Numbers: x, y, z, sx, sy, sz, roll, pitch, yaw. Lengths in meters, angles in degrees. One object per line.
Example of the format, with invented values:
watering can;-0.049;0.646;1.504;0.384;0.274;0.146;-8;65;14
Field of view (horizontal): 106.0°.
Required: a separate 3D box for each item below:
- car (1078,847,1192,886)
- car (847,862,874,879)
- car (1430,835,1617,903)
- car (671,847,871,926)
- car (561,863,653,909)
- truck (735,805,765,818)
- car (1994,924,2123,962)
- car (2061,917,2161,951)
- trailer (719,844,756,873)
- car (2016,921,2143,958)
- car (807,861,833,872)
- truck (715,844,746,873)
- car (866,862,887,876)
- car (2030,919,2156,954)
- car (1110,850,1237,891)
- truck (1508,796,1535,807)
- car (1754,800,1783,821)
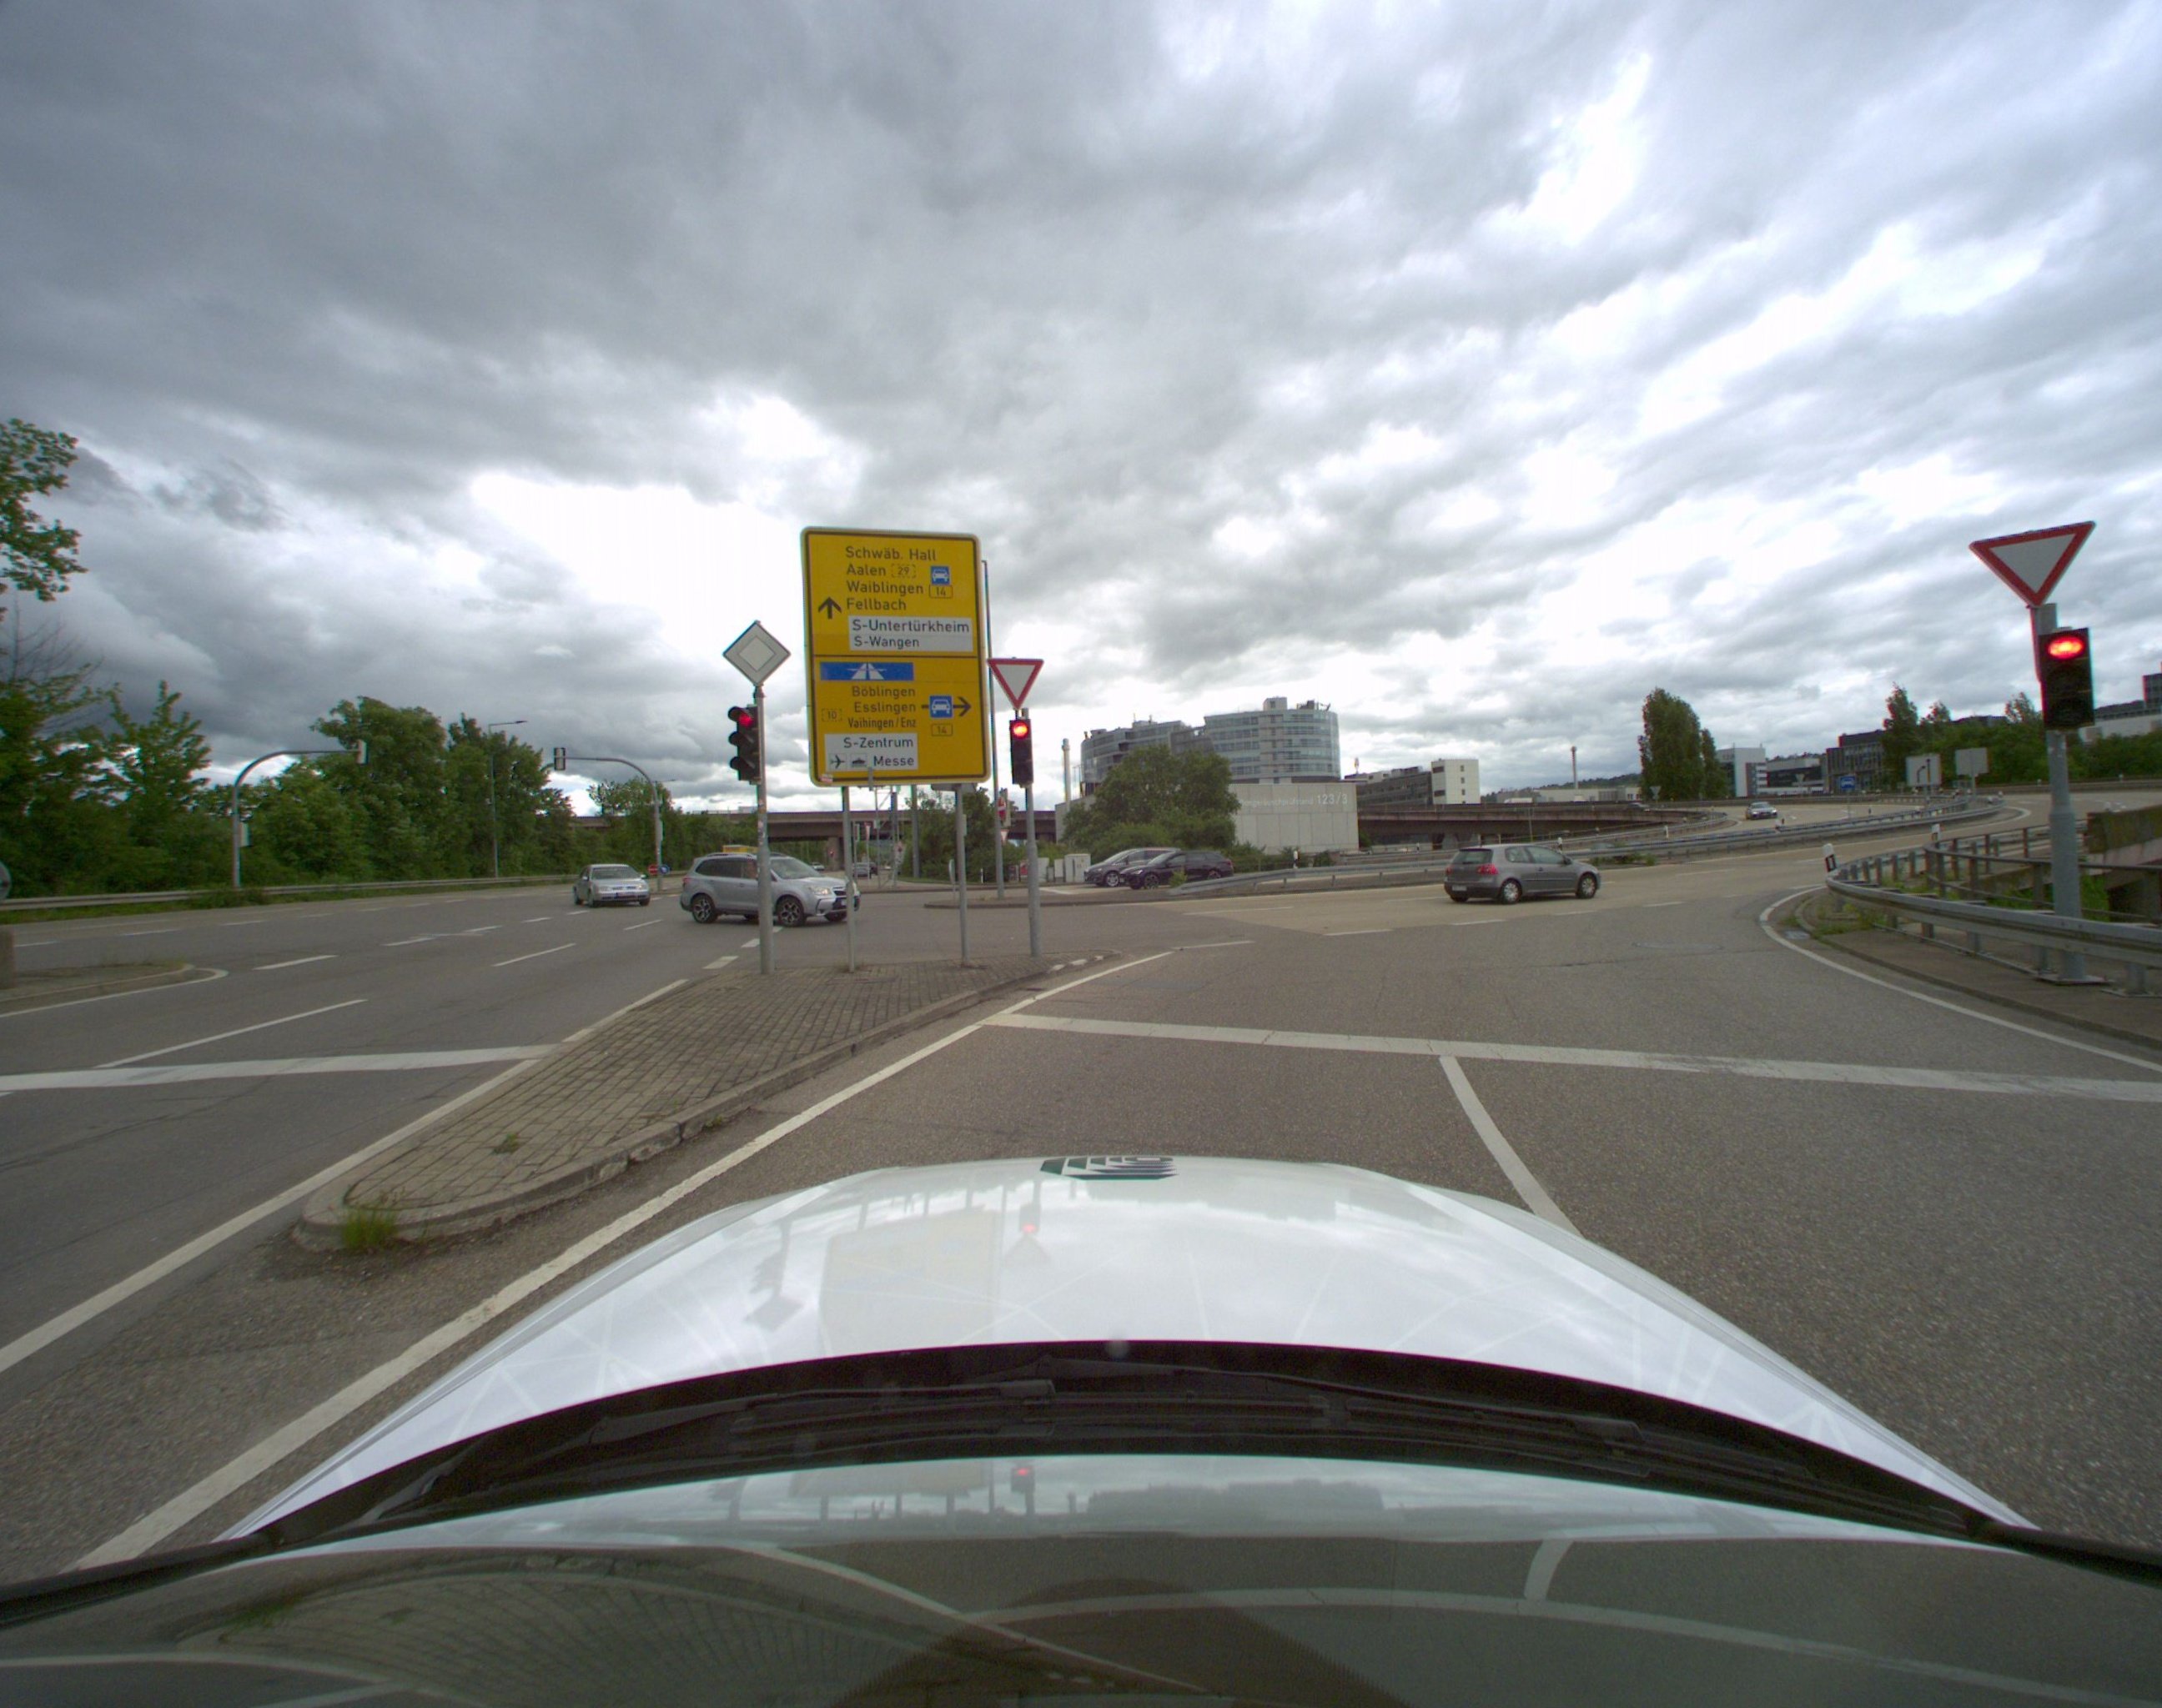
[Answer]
car;2.385;0.528;36.160;4.689;1.571;1.945;-1;1;-17
car;-19.112;1.450;70.811;1.995;1.442;4.092;0;-2;-12
car;11.155;0.353;20.560;4.243;1.461;1.719;-2;0;-19
car;-7.528;0.781;19.786;4.501;1.737;1.739;-2;0;22
car;-16.349;1.074;28.008;1.740;1.400;4.016;-2;0;-45
truck;-62.794;-8.053;154.570;5.033;2.321;2.004;-1;0;7
car;48.545;4.379;40.511;1.832;1.354;3.828;-3;1;-28
car;55.312;4.221;43.276;1.832;1.354;3.828;-3;1;-28
trailer;-51.852;0.639;123.215;2.873;4.084;11.380;1;0;-12
car;50.710;4.311;41.445;1.832;1.354;3.828;-3;1;-28
car;-47.051;2.185;146.606;3.954;1.860;2.010;2;0;20
truck;-50.794;0.635;118.142;2.874;4.084;6.461;1;0;-12
car;-23.144;1.705;92.284;1.994;1.464;4.094;-1;-2;-11
car;52.604;4.244;42.408;1.832;1.354;3.828;-3;1;-28
car;3.670;0.609;32.334;4.620;1.457;1.943;-1;1;-19
truck;94.248;-11.244;174.220;4.567;2.171;2.002;2;0;4
car;62.709;-3.954;74.224;1.891;1.662;4.776;2;0;41
